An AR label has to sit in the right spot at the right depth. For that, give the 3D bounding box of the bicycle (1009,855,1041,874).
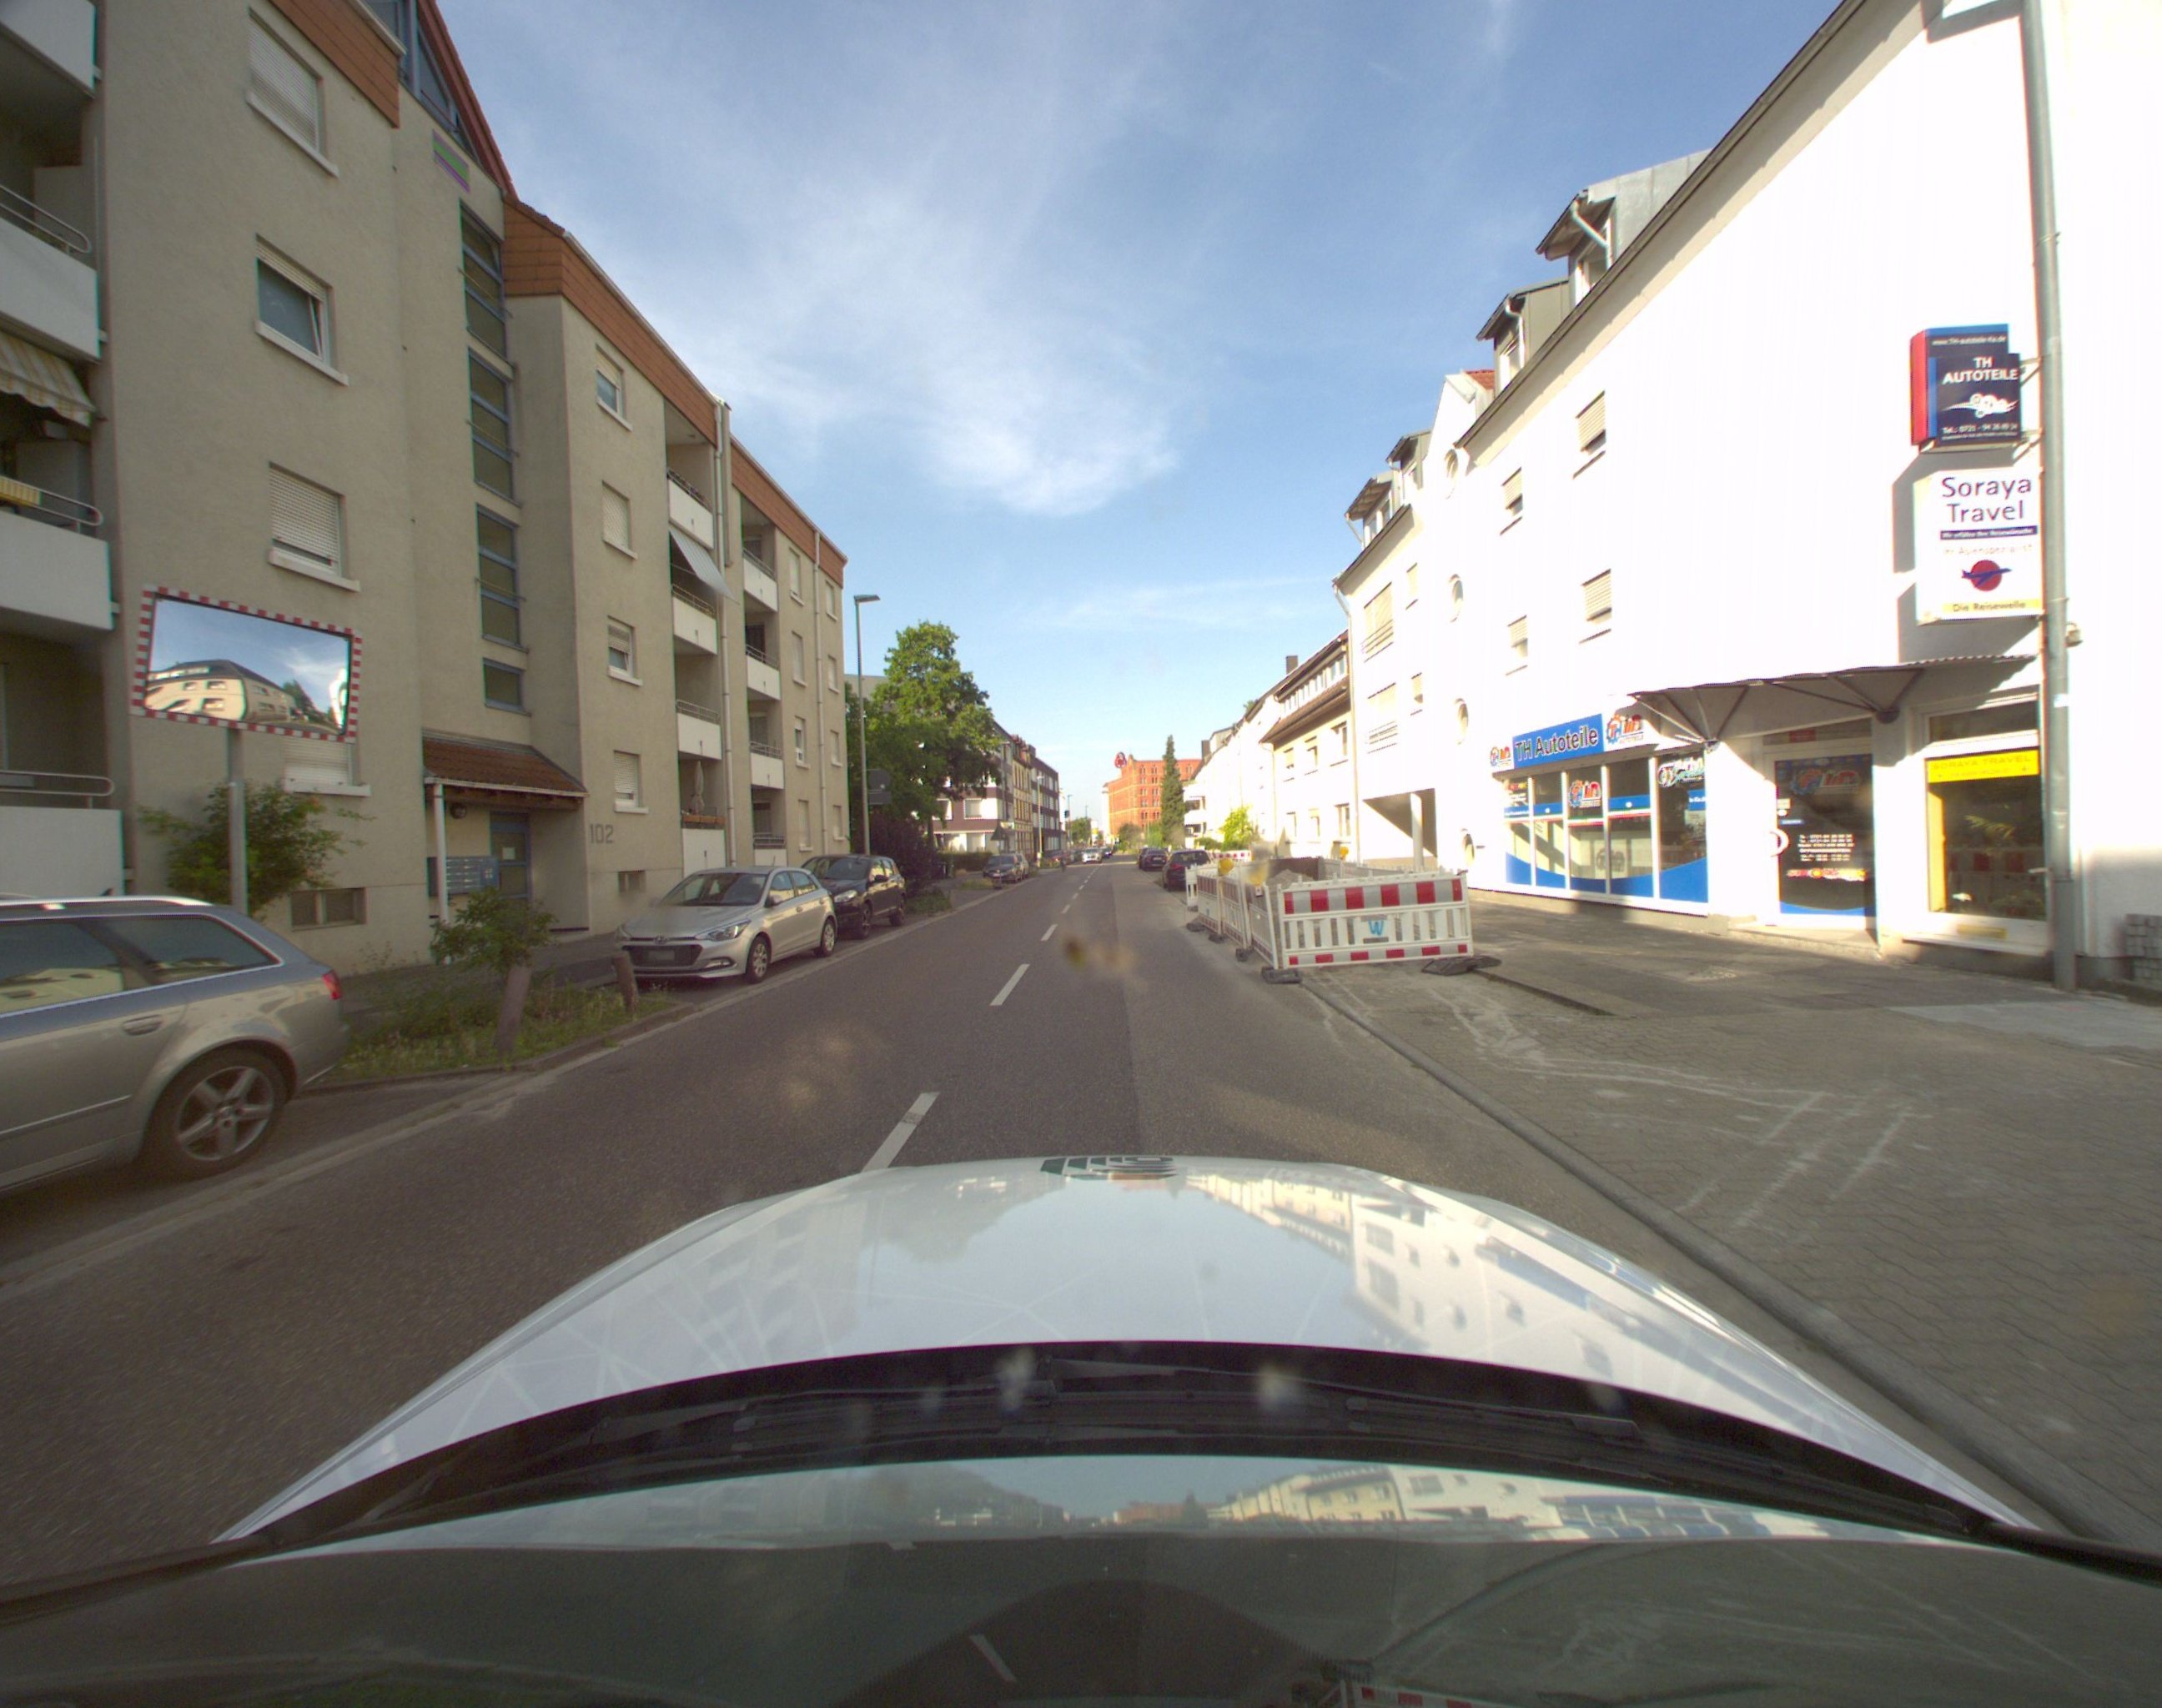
[{"bbox_3d":[-3.633,0.679,53.090,1.997,1.217,0.707,-2,0,-4],"label":"bicycle"}]

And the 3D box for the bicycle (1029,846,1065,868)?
[{"bbox_3d":[-2.892,0.241,70.050,2.906,1.777,1.203,-2,0,2],"label":"bicycle"}]

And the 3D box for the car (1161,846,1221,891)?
[{"bbox_3d":[3.971,0.475,29.972,1.822,1.482,3.946,-3,0,3],"label":"car"}]

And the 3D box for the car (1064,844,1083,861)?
[{"bbox_3d":[-0.911,-0.169,99.707,1.985,1.907,4.003,-2,0,3],"label":"car"}]

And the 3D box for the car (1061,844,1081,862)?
[{"bbox_3d":[-1.156,-0.112,95.632,1.985,1.911,3.692,-2,0,3],"label":"car"}]

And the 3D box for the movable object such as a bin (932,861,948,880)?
[{"bbox_3d":[-8.226,0.960,47.664,0.749,1.040,0.817,1,0,2],"label":"movable object such as a bin"}]

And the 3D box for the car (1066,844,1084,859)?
[{"bbox_3d":[-0.784,-0.369,105.805,1.985,1.881,4.003,-2,0,2],"label":"car"}]

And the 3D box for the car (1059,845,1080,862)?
[{"bbox_3d":[-1.213,-0.089,90.512,1.985,1.835,3.692,-2,0,3],"label":"car"}]

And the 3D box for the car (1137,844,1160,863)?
[{"bbox_3d":[5.908,-0.034,71.693,1.757,1.526,4.002,-3,0,2],"label":"car"}]

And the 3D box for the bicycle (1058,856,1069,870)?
[{"bbox_3d":[-1.281,0.659,59.241,0.606,0.942,1.813,-2,0,3],"label":"bicycle"}]

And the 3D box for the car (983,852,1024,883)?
[{"bbox_3d":[-3.904,0.656,41.498,1.568,1.420,3.805,-1,0,1],"label":"car"}]

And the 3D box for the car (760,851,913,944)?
[{"bbox_3d":[-4.825,0.767,16.770,1.679,1.603,4.372,-1,0,2],"label":"car"}]

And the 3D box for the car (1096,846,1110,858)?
[{"bbox_3d":[3.033,-0.295,110.325,1.757,1.616,4.002,-3,0,2],"label":"car"}]

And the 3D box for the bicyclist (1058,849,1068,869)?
[{"bbox_3d":[-1.288,0.374,59.320,0.588,1.442,0.751,-2,0,3],"label":"bicyclist"}]

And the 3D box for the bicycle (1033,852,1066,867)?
[{"bbox_3d":[-2.809,0.478,71.823,2.761,1.144,1.144,-2,0,2],"label":"bicycle"}]

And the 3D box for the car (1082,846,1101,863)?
[{"bbox_3d":[1.082,0.054,81.924,1.757,1.616,4.002,-3,0,2],"label":"car"}]

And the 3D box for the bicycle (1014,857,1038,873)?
[{"bbox_3d":[-3.714,0.727,54.815,1.581,1.041,0.707,-2,0,-4],"label":"bicycle"}]

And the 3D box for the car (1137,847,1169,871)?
[{"bbox_3d":[4.790,0.295,54.356,1.852,1.472,4.002,-3,0,2],"label":"car"}]

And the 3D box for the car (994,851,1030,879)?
[{"bbox_3d":[-3.956,0.593,47.396,1.670,1.501,4.000,-2,0,1],"label":"car"}]

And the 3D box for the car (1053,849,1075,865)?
[{"bbox_3d":[-1.672,0.245,79.676,1.833,1.464,3.587,-2,0,2],"label":"car"}]

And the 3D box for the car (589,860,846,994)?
[{"bbox_3d":[-4.824,0.863,11.530,1.680,1.454,4.142,-1,1,1],"label":"car"}]

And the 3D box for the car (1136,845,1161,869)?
[{"bbox_3d":[4.926,0.180,59.609,1.595,1.646,3.687,-1,0,2],"label":"car"}]

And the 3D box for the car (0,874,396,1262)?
[{"bbox_3d":[-5.329,0.929,3.021,1.801,1.521,4.371,-1,1,0],"label":"car"}]
